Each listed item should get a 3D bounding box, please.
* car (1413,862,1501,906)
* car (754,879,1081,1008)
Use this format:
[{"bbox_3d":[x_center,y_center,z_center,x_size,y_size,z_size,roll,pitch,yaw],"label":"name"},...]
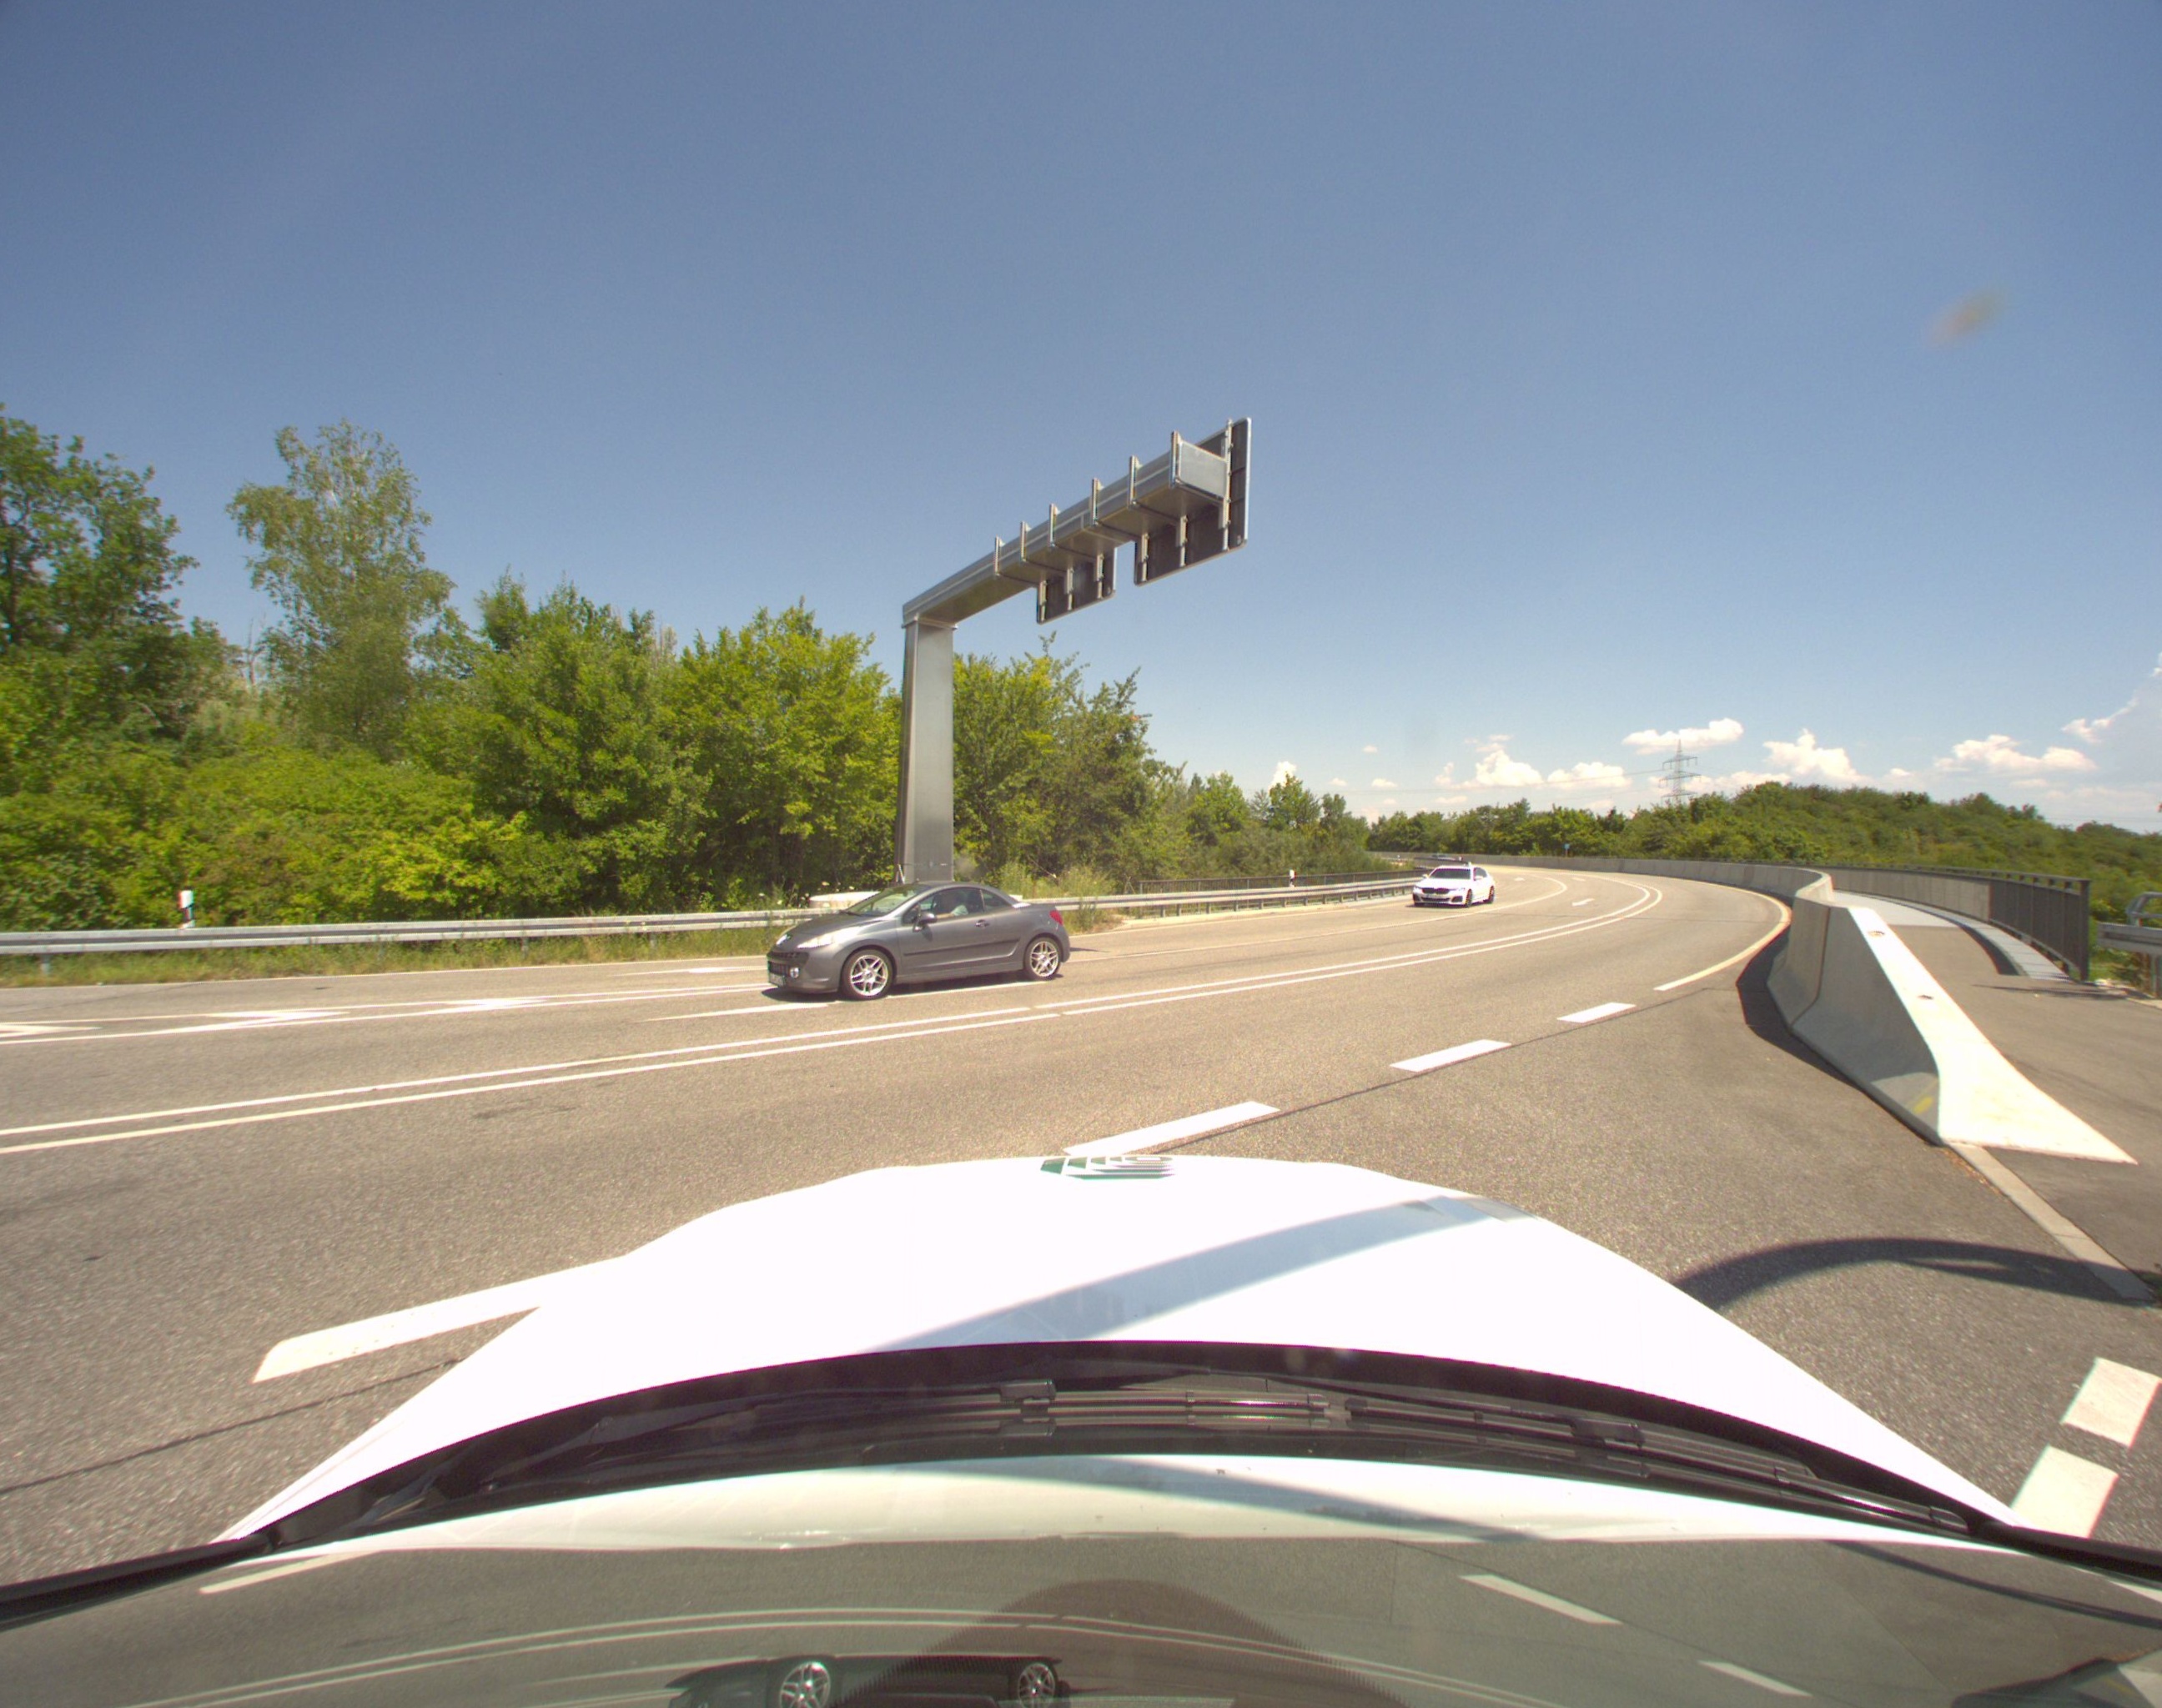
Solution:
[{"bbox_3d":[13.917,1.086,29.990,1.820,1.484,4.867,-3,-2,38],"label":"car"},{"bbox_3d":[-2.071,1.067,10.913,3.988,1.352,1.632,0,-3,-39],"label":"car"}]
